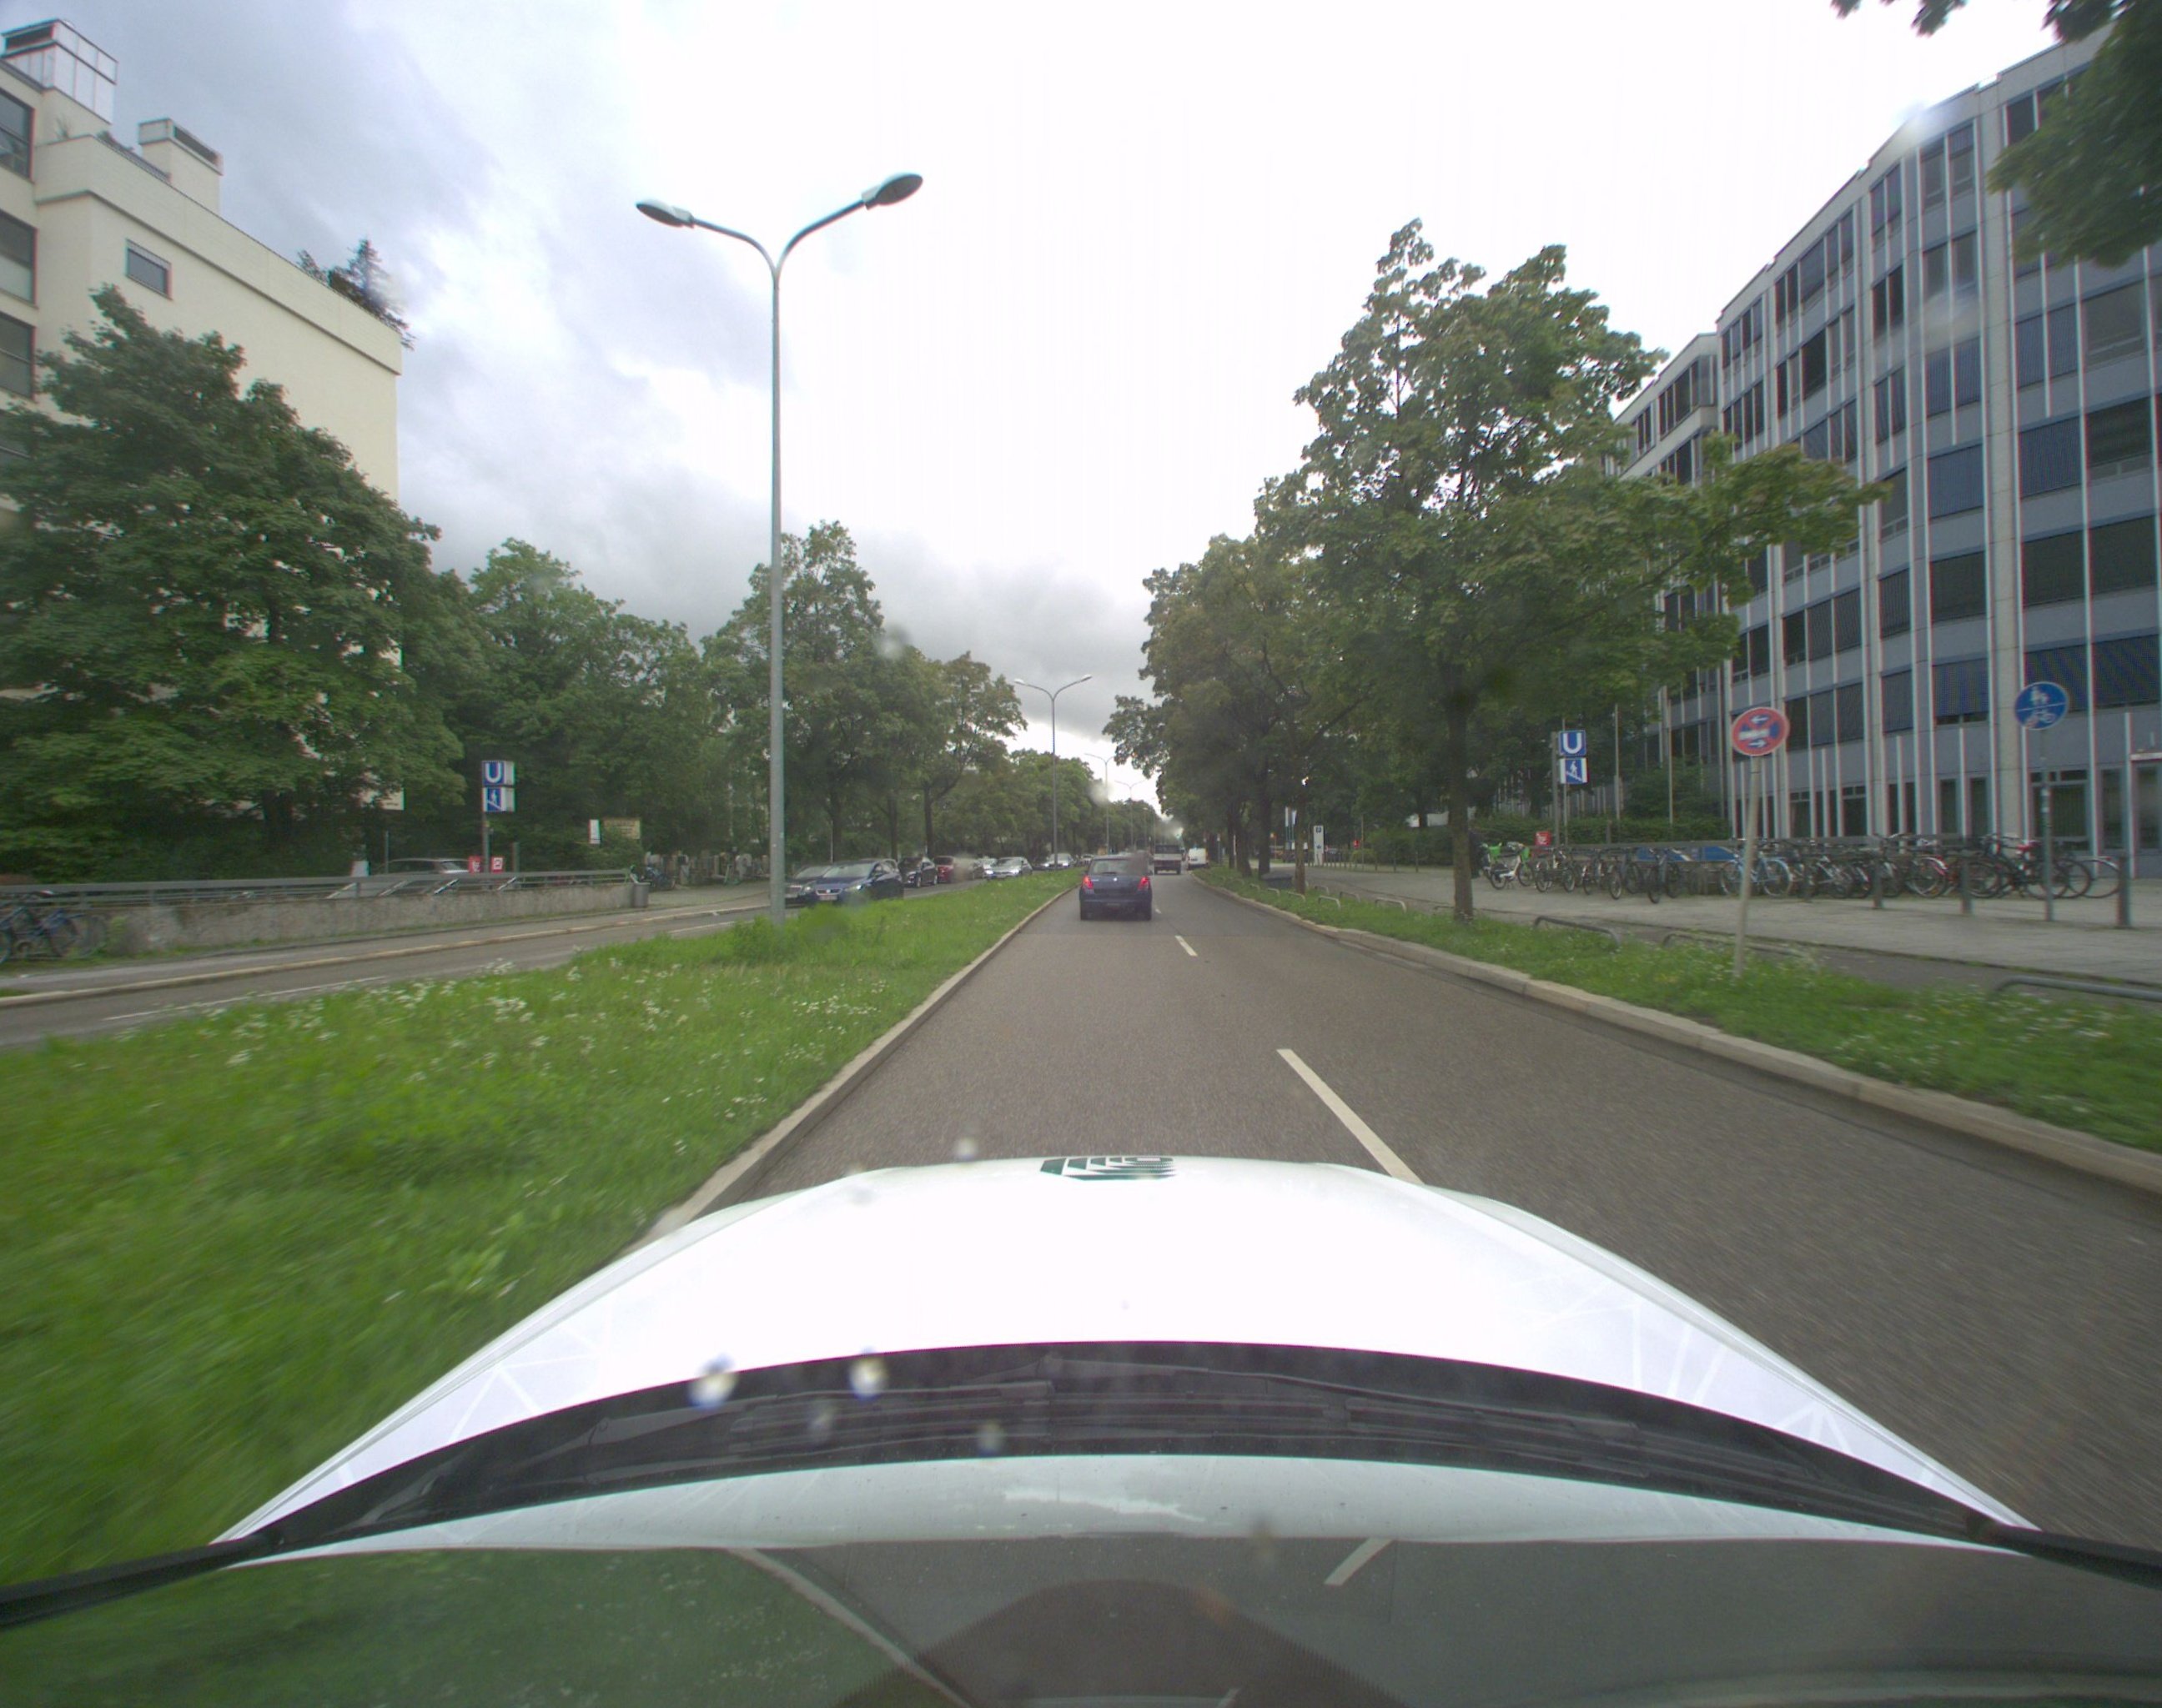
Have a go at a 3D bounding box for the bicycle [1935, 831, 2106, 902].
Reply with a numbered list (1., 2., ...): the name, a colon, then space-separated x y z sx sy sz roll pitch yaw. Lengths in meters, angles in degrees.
1. bicycle: 17.164 0.219 14.980 0.575 1.189 2.139 -2 0 -3

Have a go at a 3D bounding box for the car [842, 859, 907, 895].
1. car: -9.980 1.084 39.581 1.637 1.614 3.829 0 0 9

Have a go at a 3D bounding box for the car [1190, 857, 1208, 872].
1. car: 11.911 1.013 82.052 1.692 1.397 4.242 -2 0 8

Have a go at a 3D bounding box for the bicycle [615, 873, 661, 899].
1. bicycle: -18.612 1.337 34.197 1.752 1.007 0.437 -2 0 7

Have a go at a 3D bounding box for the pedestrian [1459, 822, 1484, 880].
1. pedestrian: 13.104 -0.095 27.322 0.645 1.899 0.753 -2 0 21

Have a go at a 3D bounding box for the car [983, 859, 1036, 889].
1. car: -3.799 1.045 44.350 1.905 1.484 4.873 -2 0 6

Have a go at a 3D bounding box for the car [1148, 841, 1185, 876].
1. car: 6.250 0.304 59.008 2.404 2.444 5.099 0 0 9

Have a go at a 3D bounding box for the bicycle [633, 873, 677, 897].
1. bicycle: -18.670 1.348 35.715 1.752 1.007 0.437 -2 0 7

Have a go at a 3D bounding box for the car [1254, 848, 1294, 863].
1. car: 27.815 0.224 117.593 5.441 2.083 2.151 -1 0 6

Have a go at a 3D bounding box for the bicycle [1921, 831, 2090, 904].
1. bicycle: 16.491 0.228 14.621 0.510 1.189 2.139 -2 0 -3

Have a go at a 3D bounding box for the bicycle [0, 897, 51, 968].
1. bicycle: -17.313 1.254 12.446 0.405 1.072 1.960 3 1 10

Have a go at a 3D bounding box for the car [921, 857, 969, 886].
1. car: -8.401 1.042 50.716 1.730 1.651 4.614 1 0 6

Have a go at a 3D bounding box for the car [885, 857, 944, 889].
1. car: -9.111 1.027 45.007 1.729 1.643 4.695 0 0 8

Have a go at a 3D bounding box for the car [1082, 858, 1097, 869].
1. car: 1.304 1.349 120.737 1.748 1.595 4.498 1 0 7

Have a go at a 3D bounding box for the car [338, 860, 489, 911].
1. car: -22.801 1.072 27.887 3.964 1.589 1.753 -2 0 8

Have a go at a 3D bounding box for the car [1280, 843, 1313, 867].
1. car: 21.585 0.110 81.826 2.253 2.306 6.278 -2 0 6

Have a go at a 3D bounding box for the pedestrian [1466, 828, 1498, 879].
1. pedestrian: 13.820 -0.004 28.073 0.775 1.714 0.755 -2 0 39

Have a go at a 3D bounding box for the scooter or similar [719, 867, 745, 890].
1. scooter or similar: -17.833 1.222 41.651 0.431 1.127 1.296 -2 0 20

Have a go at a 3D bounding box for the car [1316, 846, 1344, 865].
1. car: 24.991 0.151 81.996 1.833 1.818 4.479 -2 0 6

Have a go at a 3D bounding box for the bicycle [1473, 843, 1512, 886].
1. bicycle: 12.698 0.304 25.165 0.526 1.226 1.868 -4 1 11

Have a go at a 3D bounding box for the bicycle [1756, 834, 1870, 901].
1. bicycle: 13.855 0.245 15.489 0.485 1.189 1.956 -2 0 4

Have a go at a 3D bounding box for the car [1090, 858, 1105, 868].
1. car: 2.734 1.394 130.722 1.822 1.609 4.502 1 0 8

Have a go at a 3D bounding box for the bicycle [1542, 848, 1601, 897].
1. bicycle: 12.426 0.449 20.605 1.964 1.083 0.590 -4 1 -38

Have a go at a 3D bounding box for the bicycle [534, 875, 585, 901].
1. bicycle: -21.564 1.393 33.722 0.575 1.007 2.037 -2 0 8

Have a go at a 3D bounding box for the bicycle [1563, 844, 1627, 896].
1. bicycle: 12.126 0.354 19.203 1.964 1.066 0.574 -4 0 -38

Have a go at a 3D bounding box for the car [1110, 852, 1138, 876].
1. car: 2.937 0.643 55.016 1.791 1.499 3.663 -2 0 3

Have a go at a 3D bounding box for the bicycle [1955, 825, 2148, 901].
1. bicycle: 17.923 0.157 15.156 0.507 1.294 2.475 -2 0 -3

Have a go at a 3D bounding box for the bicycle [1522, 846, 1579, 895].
1. bicycle: 12.493 0.423 21.633 1.964 1.108 0.574 -6 2 -38

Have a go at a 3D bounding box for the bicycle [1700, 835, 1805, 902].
1. bicycle: 12.760 0.254 15.551 0.485 1.189 1.956 -2 0 4

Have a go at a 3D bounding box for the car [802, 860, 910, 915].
1. car: -6.524 0.932 24.093 1.683 1.402 3.974 -2 0 6

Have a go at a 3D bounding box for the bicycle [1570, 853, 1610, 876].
1. bicycle: 20.599 0.398 32.989 0.550 0.853 1.836 -2 1 3

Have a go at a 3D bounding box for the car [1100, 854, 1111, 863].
1. car: 4.270 0.781 143.656 1.682 1.565 3.084 -2 0 6

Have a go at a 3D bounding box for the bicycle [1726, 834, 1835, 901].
1. bicycle: 13.278 0.242 15.534 0.485 1.189 1.956 -2 0 4

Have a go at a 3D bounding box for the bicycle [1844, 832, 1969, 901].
1. bicycle: 15.287 0.220 15.158 0.443 1.189 1.956 -2 0 4

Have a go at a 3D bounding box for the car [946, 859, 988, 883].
1. car: -7.744 1.147 55.698 1.729 1.483 4.343 1 0 8

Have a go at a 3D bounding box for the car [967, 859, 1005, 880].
1. car: -7.033 1.118 60.534 1.729 1.529 4.485 0 0 8

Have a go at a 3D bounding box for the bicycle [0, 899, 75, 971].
1. bicycle: -16.775 1.270 12.326 0.405 1.040 1.960 3 1 10

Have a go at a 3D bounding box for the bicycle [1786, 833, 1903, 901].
1. bicycle: 14.462 0.230 15.503 0.485 1.189 1.956 -2 0 4

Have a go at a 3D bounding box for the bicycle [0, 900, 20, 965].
1. bicycle: -17.895 1.283 12.505 0.405 1.030 1.960 3 1 10

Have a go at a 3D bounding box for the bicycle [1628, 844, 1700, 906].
1. bicycle: 11.838 0.410 16.513 2.042 1.099 0.574 -4 -1 -38

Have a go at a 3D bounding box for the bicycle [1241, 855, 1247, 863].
1. bicycle: 25.733 0.754 128.310 0.744 1.183 2.251 -1 0 8

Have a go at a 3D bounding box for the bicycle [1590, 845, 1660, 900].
1. bicycle: 12.099 0.391 18.095 2.050 1.089 0.598 -3 -2 -38

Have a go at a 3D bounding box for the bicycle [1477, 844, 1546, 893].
1. bicycle: 11.816 0.389 22.330 1.959 1.189 0.592 -5 1 -27

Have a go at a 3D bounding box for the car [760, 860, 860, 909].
1. car: -9.191 0.988 27.976 1.683 1.484 3.974 -2 0 6

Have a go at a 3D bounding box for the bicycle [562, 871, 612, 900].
1. bicycle: -20.424 1.295 33.742 0.575 1.099 2.037 -2 0 8

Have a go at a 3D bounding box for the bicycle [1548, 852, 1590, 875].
1. bicycle: 19.784 0.390 33.071 0.679 0.853 1.836 -2 1 3

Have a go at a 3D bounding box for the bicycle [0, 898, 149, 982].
1. bicycle: -15.581 1.273 12.270 0.405 1.089 2.090 3 1 10

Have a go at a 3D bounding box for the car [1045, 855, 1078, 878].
1. car: -1.461 0.912 61.883 1.756 1.624 4.386 -2 0 8

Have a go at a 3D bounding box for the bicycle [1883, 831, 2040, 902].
1. bicycle: 15.947 0.218 14.848 0.444 1.189 2.139 -2 0 -3

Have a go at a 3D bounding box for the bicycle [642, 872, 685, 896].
1. bicycle: -18.599 1.331 36.305 1.752 1.007 0.437 -2 0 7

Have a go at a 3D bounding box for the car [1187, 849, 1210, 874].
1. car: 10.876 0.707 75.536 1.976 2.157 5.568 -2 0 8

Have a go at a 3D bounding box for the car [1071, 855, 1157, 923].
1. car: 0.880 0.794 19.998 1.887 1.499 3.665 -1 0 5

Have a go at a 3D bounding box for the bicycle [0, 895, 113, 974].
1. bicycle: -16.105 1.228 12.289 0.405 1.078 1.960 3 1 10

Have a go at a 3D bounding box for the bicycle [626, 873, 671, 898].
1. bicycle: -18.609 1.343 35.073 1.752 1.007 0.437 -2 0 7

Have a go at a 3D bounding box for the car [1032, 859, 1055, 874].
1. car: -3.825 1.230 83.358 1.572 1.423 4.371 1 0 7

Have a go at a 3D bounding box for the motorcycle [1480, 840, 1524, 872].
1. motorcycle: 17.900 0.103 34.654 0.548 1.318 2.069 -2 0 -7
